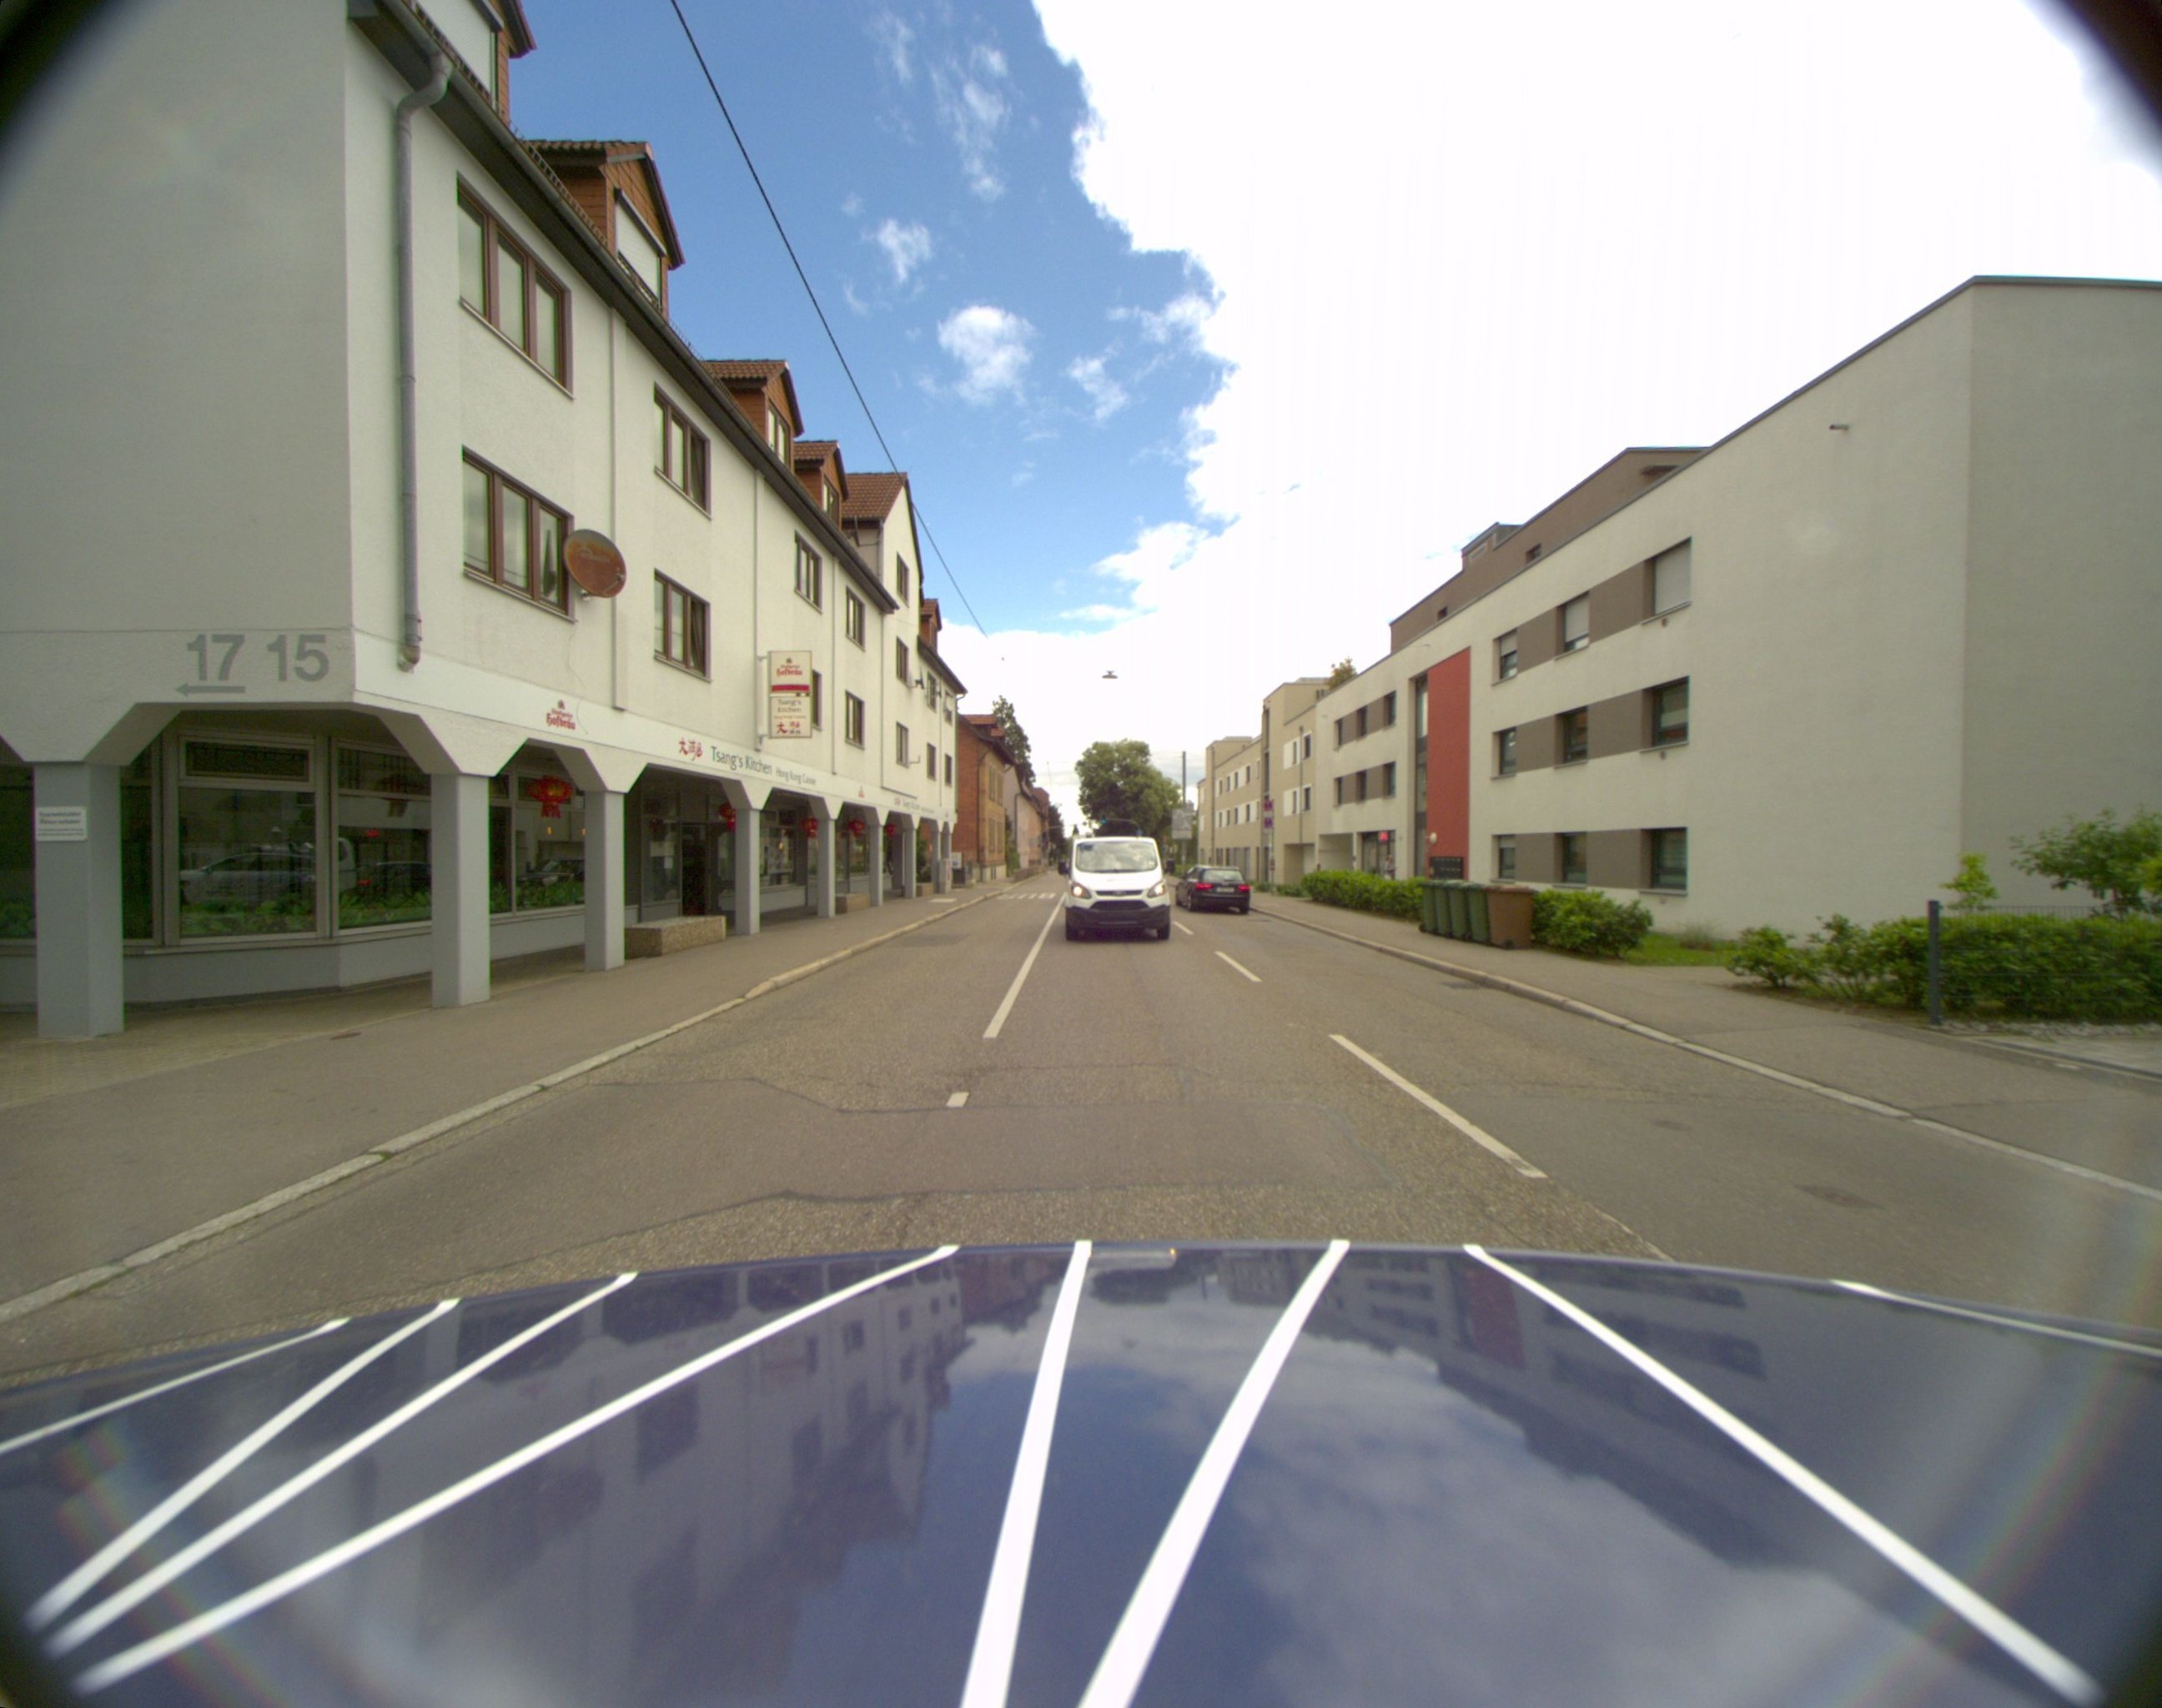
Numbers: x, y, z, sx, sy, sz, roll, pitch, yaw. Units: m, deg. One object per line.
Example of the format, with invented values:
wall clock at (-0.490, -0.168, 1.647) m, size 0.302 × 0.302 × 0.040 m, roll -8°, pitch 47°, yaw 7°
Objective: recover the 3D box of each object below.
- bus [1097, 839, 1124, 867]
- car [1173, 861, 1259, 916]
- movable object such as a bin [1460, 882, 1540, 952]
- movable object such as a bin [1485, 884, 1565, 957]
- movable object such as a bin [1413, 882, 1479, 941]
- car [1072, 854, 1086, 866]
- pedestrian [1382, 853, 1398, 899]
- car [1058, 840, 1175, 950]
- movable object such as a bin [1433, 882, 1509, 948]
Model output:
bus at (3.564, -0.116, 94.333) m, size 2.950 × 3.255 × 12.008 m, roll 1°, pitch 0°, yaw 1°
car at (4.091, 1.000, 23.733) m, size 1.883 × 1.442 × 4.213 m, roll 2°, pitch 0°, yaw 0°
movable object such as a bin at (7.253, 1.071, 13.186) m, size 0.951 × 1.144 × 0.749 m, roll 0°, pitch 1°, yaw -4°
movable object such as a bin at (7.277, 1.077, 12.479) m, size 0.943 × 1.144 × 0.612 m, roll 0°, pitch 1°, yaw -4°
movable object such as a bin at (7.144, 1.110, 14.903) m, size 0.897 × 1.082 × 0.792 m, roll 0°, pitch 1°, yaw -4°
car at (-0.229, 0.792, 95.936) m, size 1.755 × 1.485 × 3.985 m, roll 0°, pitch 0°, yaw 0°
pedestrian at (11.175, 0.787, 27.455) m, size 0.519 × 1.633 × 0.641 m, roll 0°, pitch 1°, yaw 24°
car at (0.625, 0.711, 15.972) m, size 2.062 × 1.945 × 5.060 m, roll 0°, pitch 0°, yaw 0°
movable object such as a bin at (7.198, 1.105, 14.051) m, size 0.959 × 1.144 × 0.840 m, roll 0°, pitch 1°, yaw -4°
